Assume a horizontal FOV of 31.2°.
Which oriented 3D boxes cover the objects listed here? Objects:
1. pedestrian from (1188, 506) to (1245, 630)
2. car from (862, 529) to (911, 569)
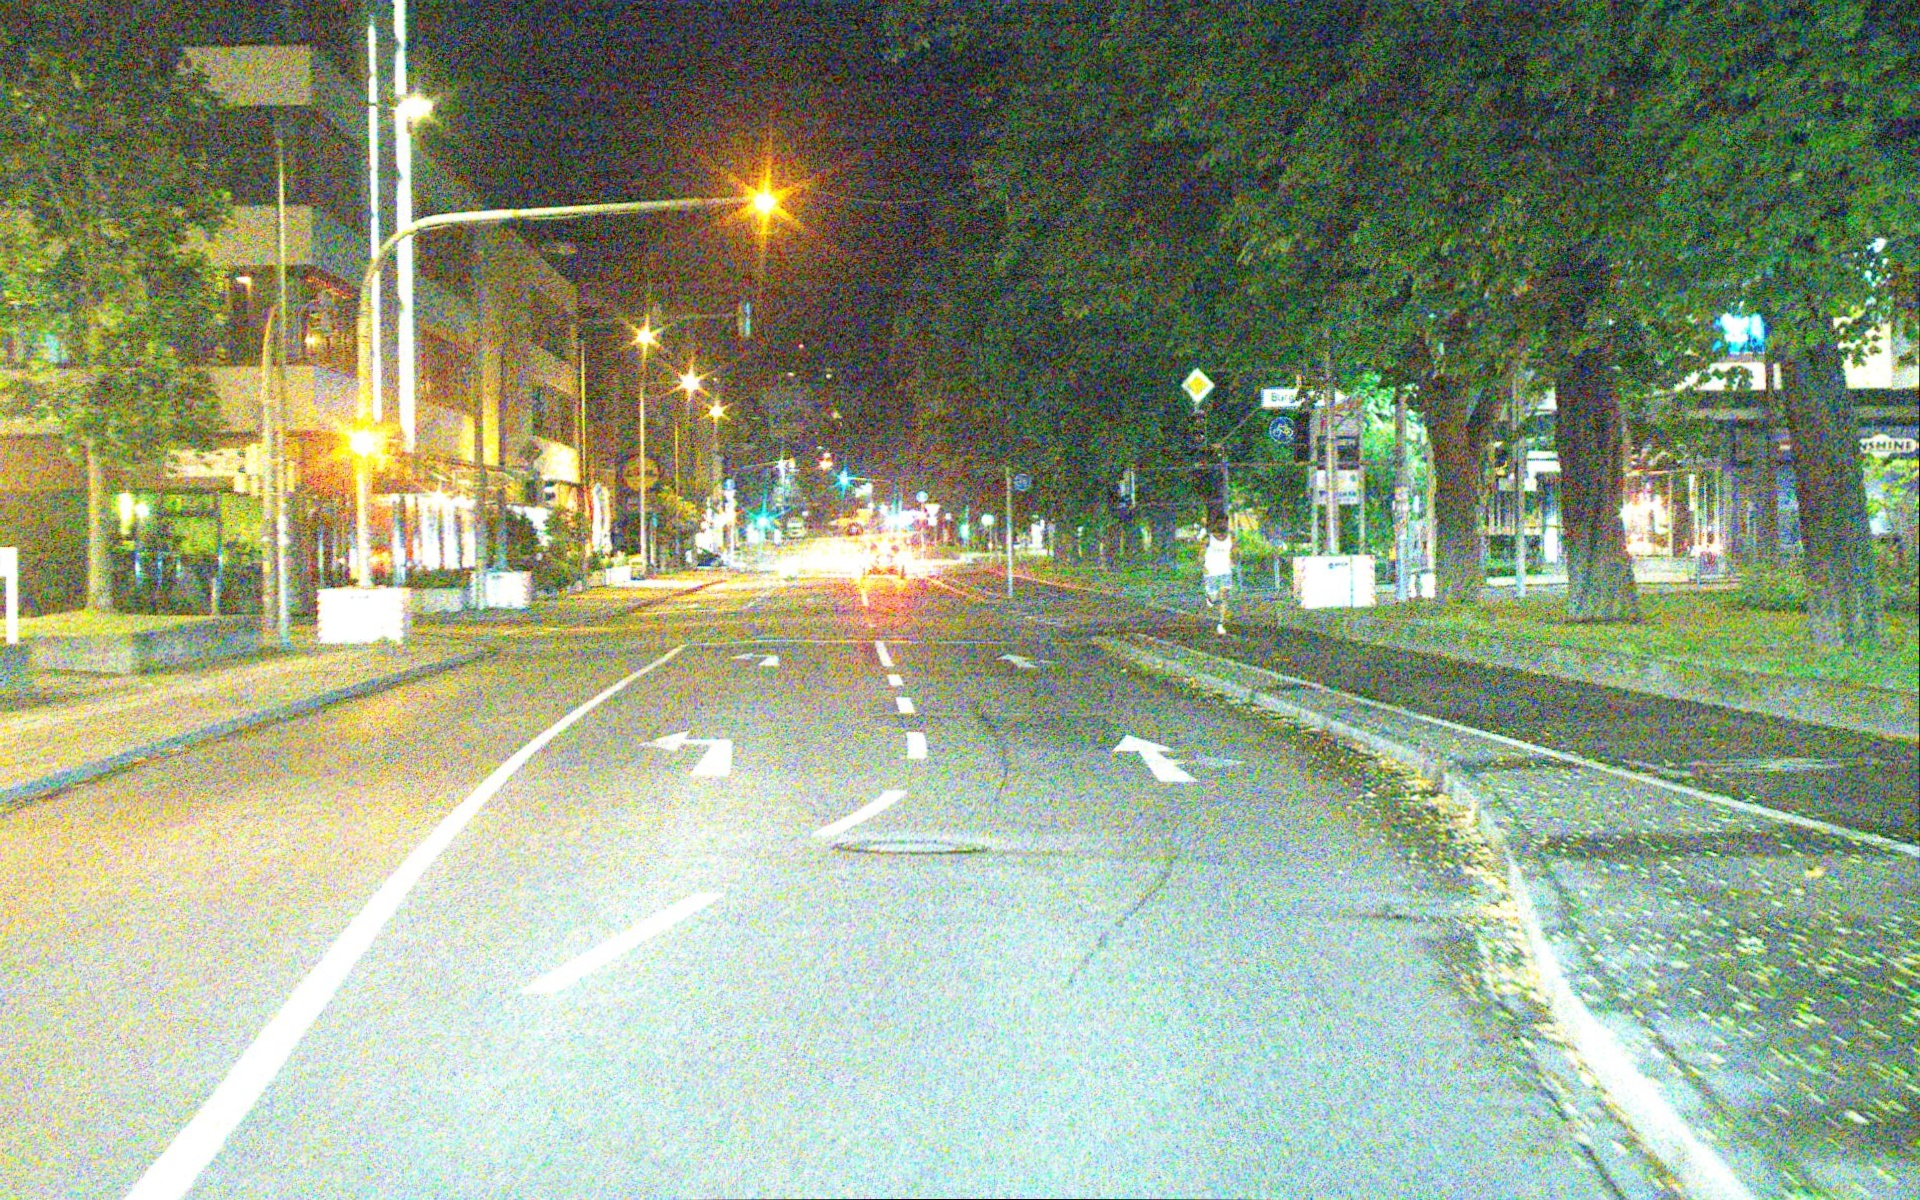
[{"bbox_3d":[3.818,-0.485,51.195,0.703,1.812,1.082,-2,1,-1],"label":"pedestrian"},{"bbox_3d":[-3.188,-2.228,148.446,1.993,1.637,4.001,-2,1,-2],"label":"car"}]
